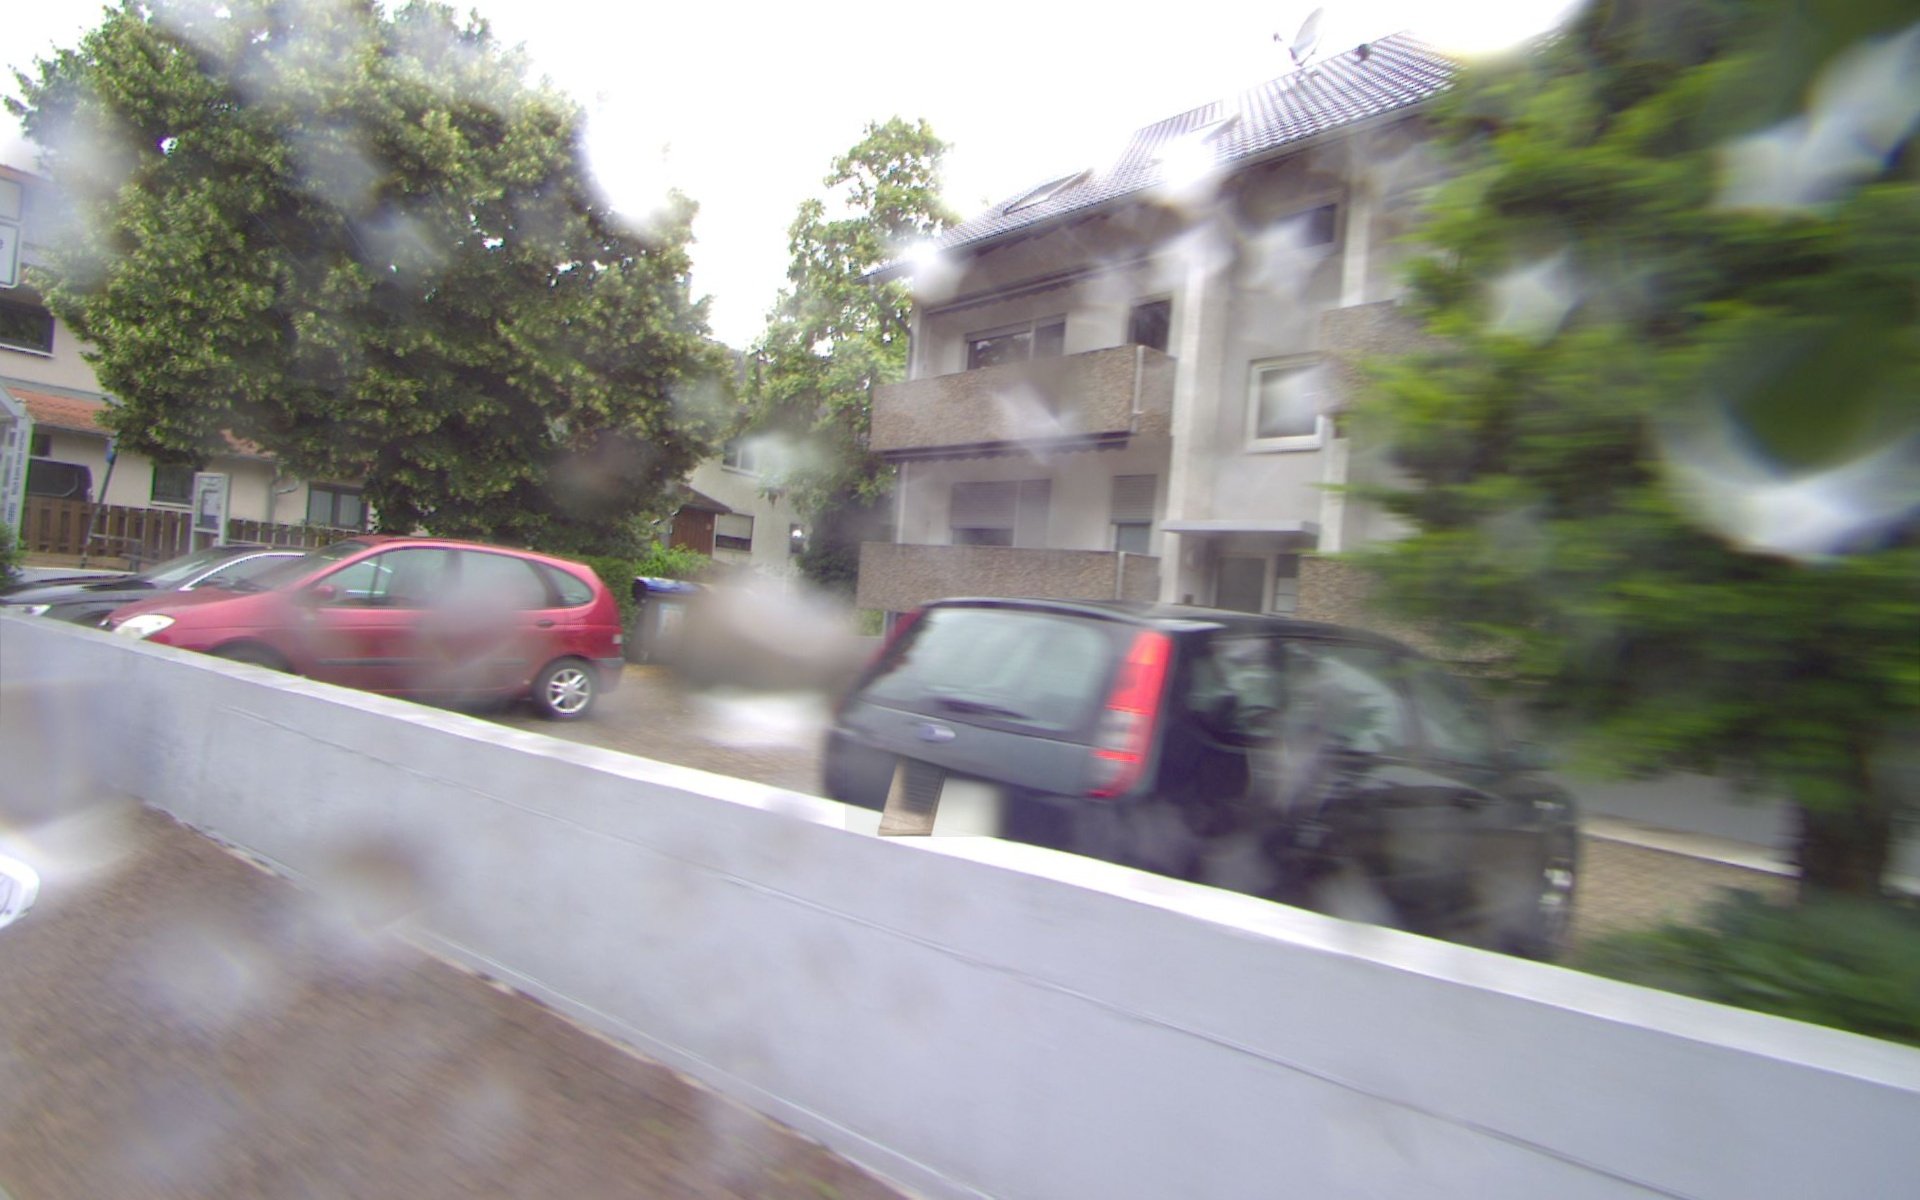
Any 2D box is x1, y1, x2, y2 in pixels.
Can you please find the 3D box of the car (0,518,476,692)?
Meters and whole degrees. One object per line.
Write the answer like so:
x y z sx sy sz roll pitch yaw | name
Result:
-7.380 0.111 10.297 1.726 1.396 3.947 7 1 38 | car

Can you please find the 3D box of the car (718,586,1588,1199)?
1.247 0.931 4.585 4.215 1.499 1.674 7 0 -44 | car

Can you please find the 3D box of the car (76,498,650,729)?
-5.174 0.195 9.093 1.833 1.609 4.057 7 0 45 | car

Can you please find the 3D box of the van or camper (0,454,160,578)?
-17.929 -1.715 18.122 1.843 1.945 5.082 7 -2 27 | van or camper

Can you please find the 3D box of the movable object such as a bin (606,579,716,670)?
-5.145 0.433 17.338 1.136 1.374 1.243 7 0 32 | movable object such as a bin
